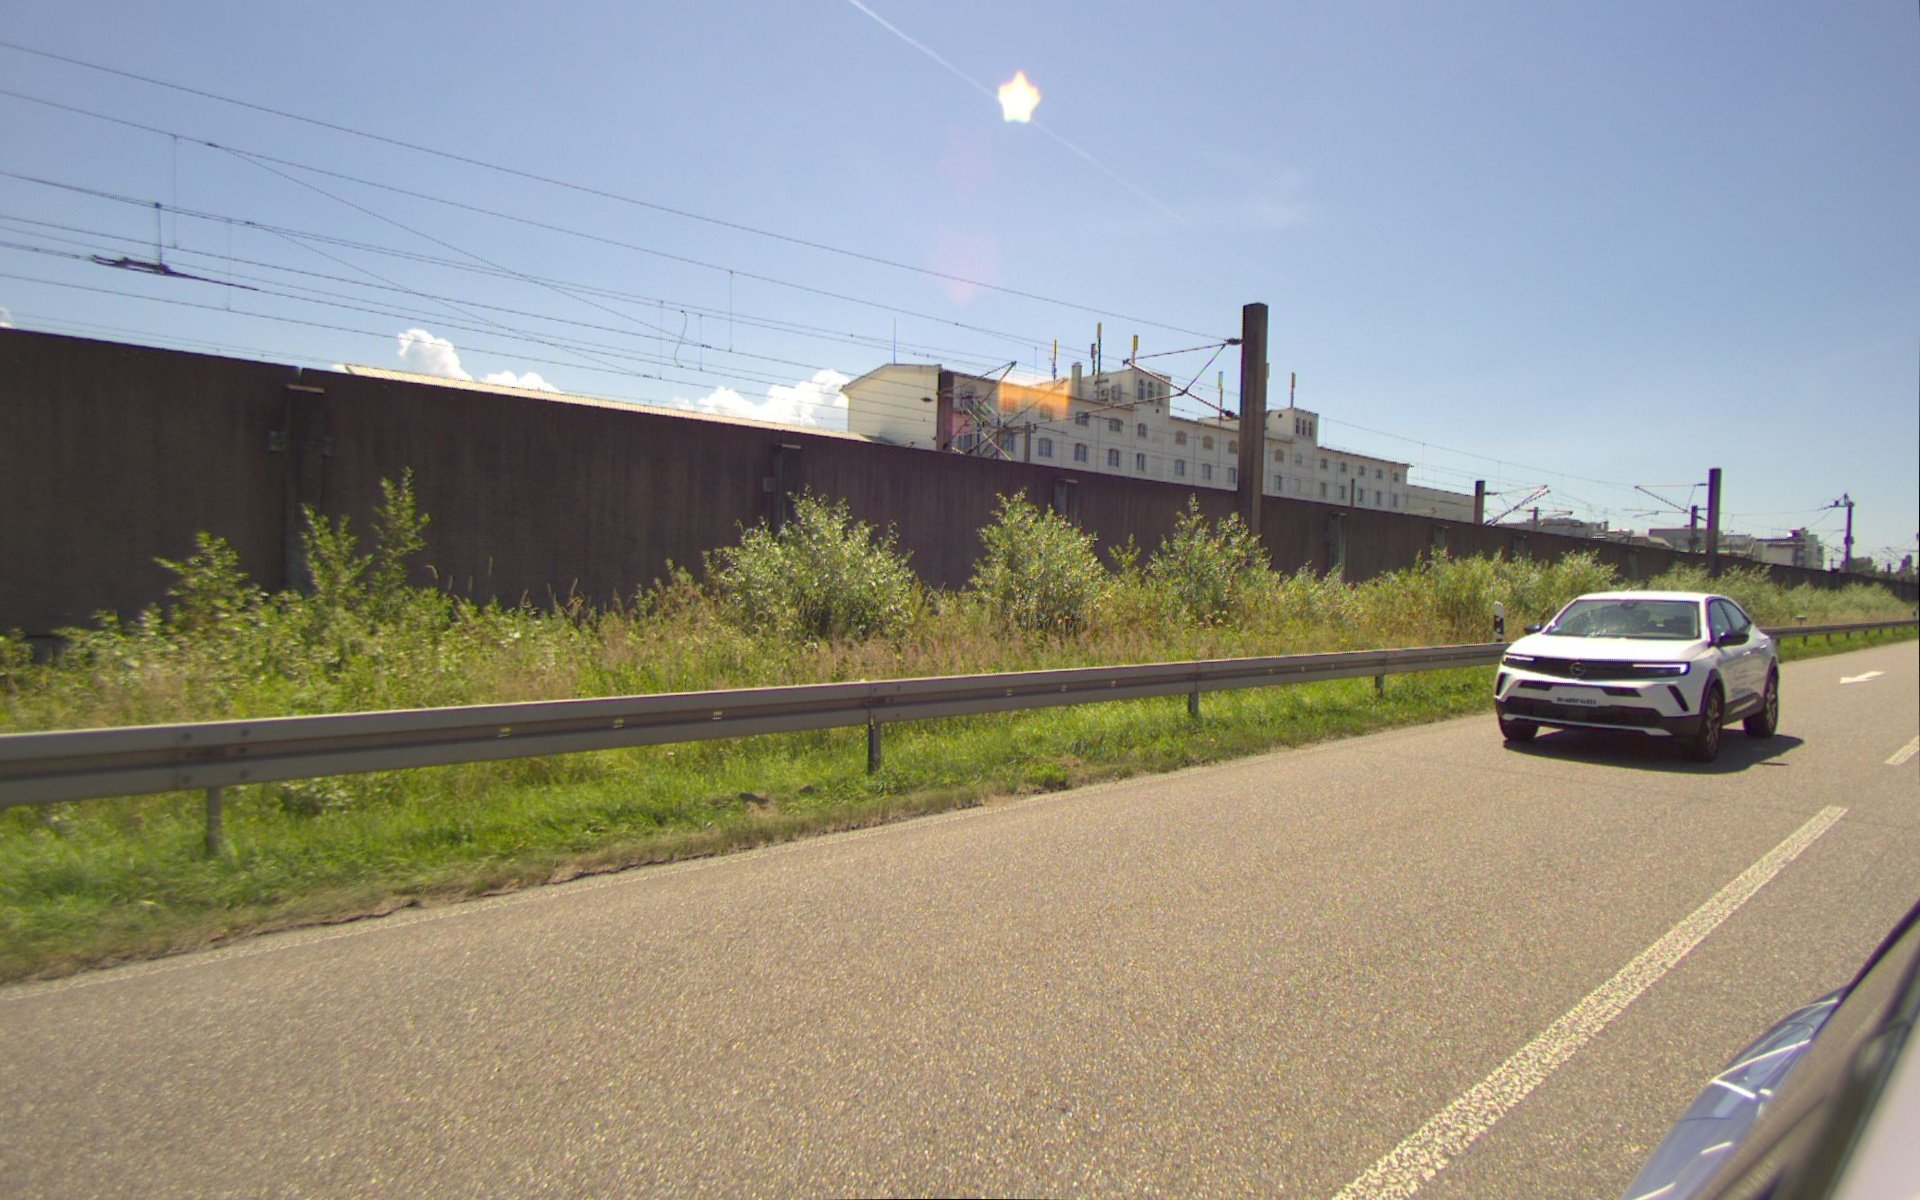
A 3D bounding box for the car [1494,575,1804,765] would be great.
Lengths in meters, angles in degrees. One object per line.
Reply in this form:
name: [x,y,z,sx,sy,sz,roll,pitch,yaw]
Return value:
car: [7.318,0.570,10.574,4.207,1.583,1.820,0,1,-43]
